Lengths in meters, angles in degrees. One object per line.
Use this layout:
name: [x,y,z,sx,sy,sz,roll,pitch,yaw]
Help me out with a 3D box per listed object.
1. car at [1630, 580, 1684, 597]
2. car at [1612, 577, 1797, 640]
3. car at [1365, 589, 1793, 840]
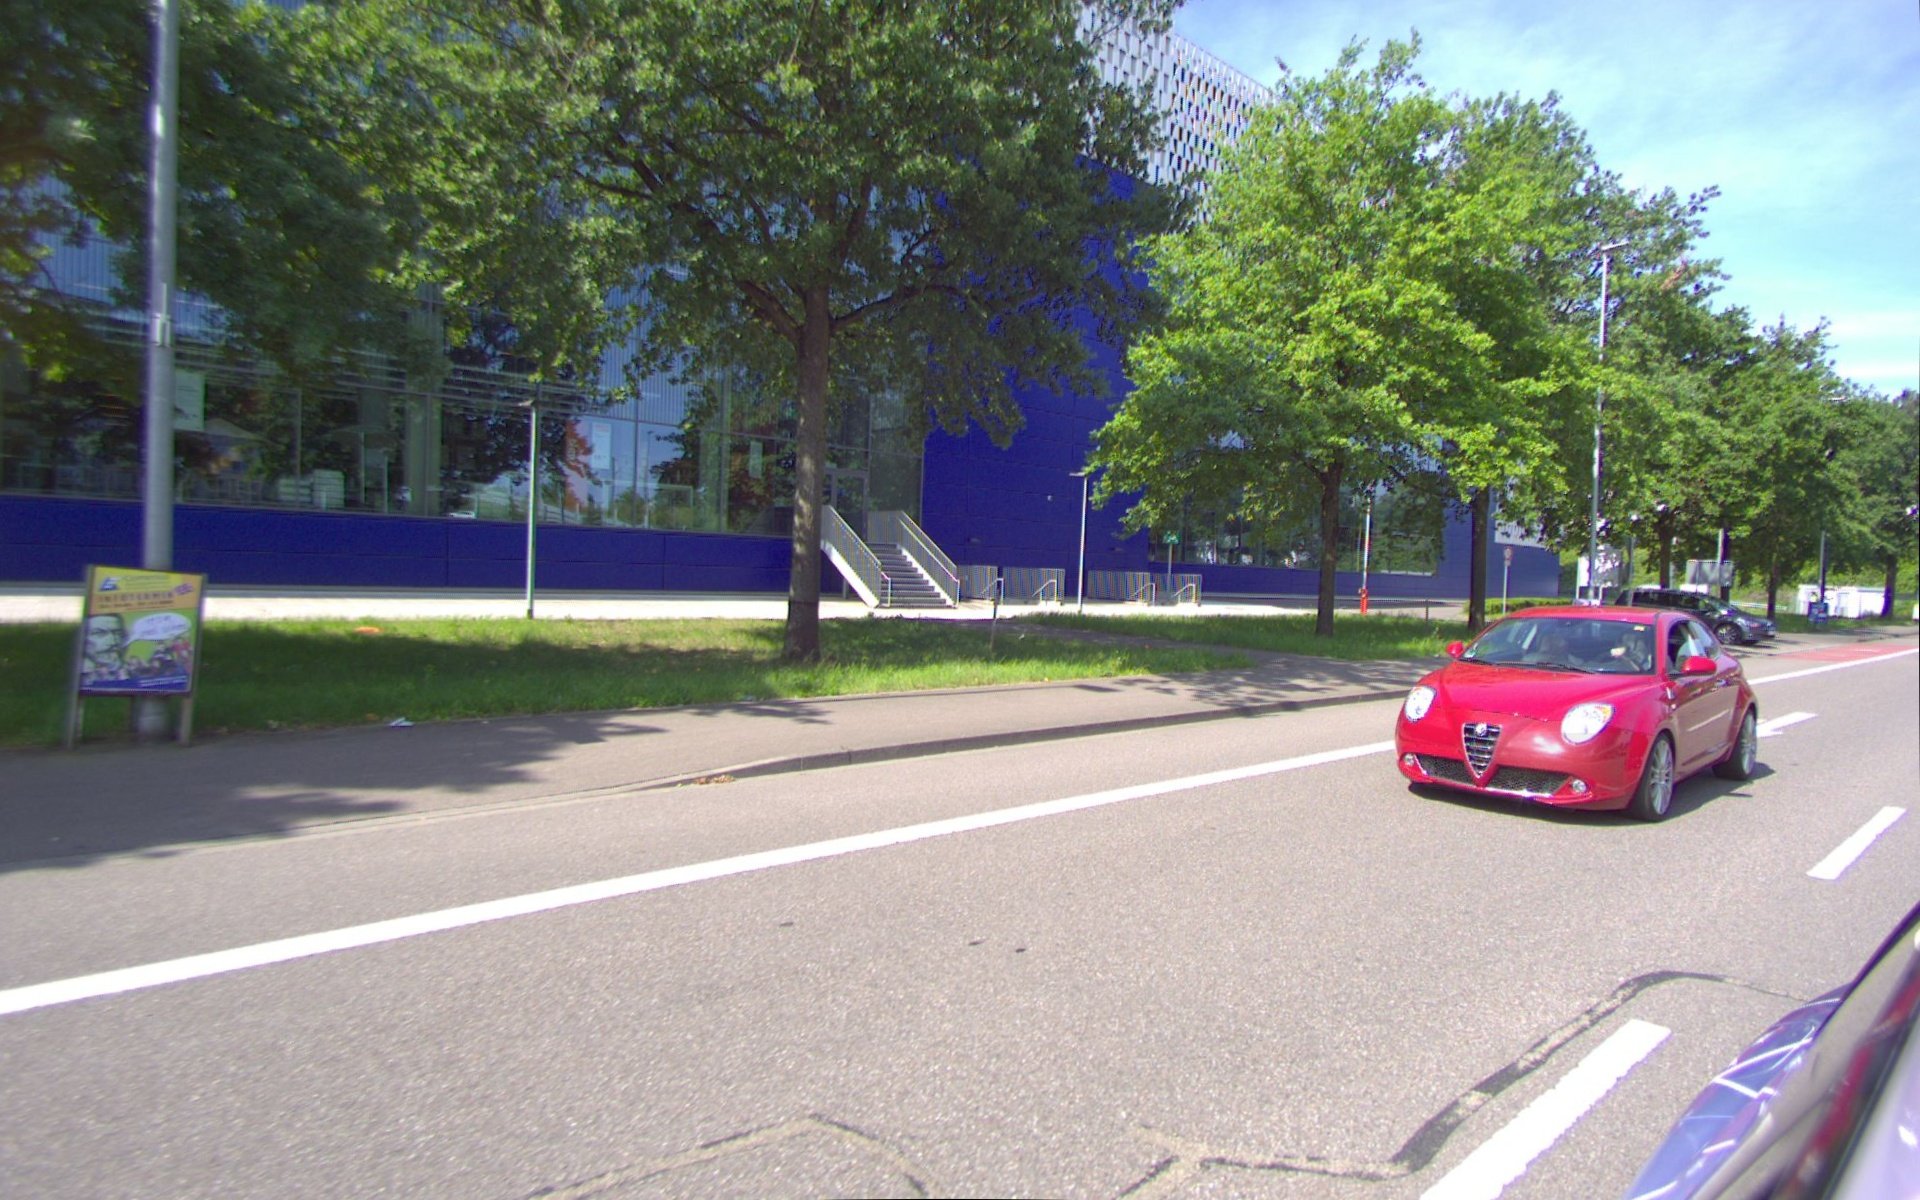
car: [67.709,-1.135,98.424,1.819,1.659,4.311,1,1,-8]
car: [24.257,0.218,33.163,1.808,1.714,4.464,1,3,-33]
car: [5.062,0.672,8.073,3.909,1.472,1.797,0,2,-41]
